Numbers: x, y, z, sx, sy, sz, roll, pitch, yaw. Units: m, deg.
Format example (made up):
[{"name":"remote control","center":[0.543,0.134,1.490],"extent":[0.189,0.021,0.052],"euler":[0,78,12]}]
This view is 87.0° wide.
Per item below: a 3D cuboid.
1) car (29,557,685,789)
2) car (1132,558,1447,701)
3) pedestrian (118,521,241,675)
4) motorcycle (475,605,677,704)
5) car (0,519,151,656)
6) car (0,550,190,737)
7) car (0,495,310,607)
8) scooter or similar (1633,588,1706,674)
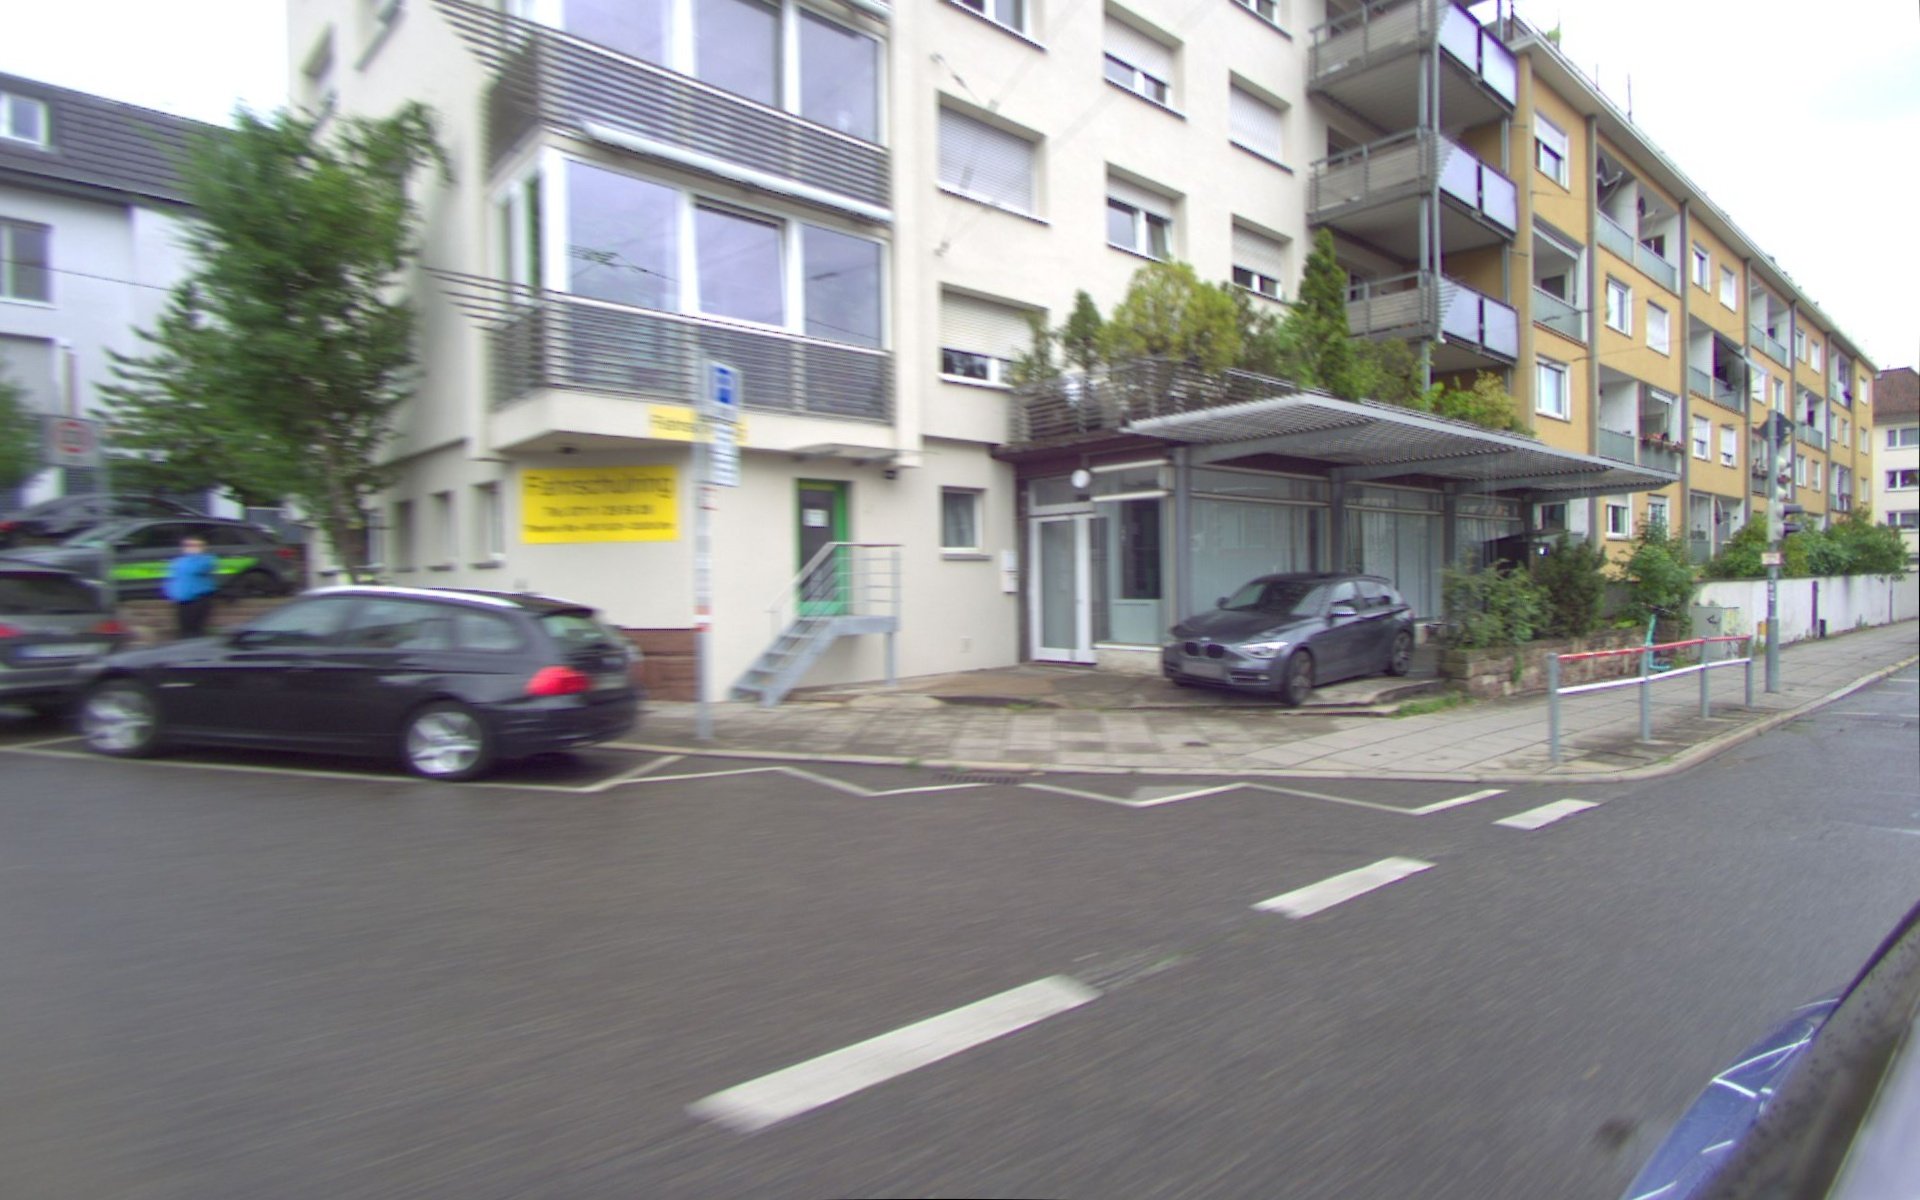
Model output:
[{"name":"car","center":[-4.803,0.511,8.489],"extent":[4.371,1.476,1.999],"euler":[3,0,6]},{"name":"car","center":[4.380,0.270,13.103],"extent":[4.371,1.521,1.857],"euler":[-1,3,-41]},{"name":"pedestrian","center":[-9.853,-0.046,12.794],"extent":[1.009,1.820,0.776],"euler":[4,3,17]},{"name":"motorcycle","center":[-4.469,0.621,11.816],"extent":[2.176,0.991,0.551],"euler":[3,2,7]},{"name":"car","center":[-12.954,-0.181,12.362],"extent":[1.982,1.636,4.411],"euler":[4,4,25]},{"name":"car","center":[-9.760,0.246,9.089],"extent":[4.374,1.475,1.998],"euler":[3,1,8]},{"name":"car","center":[-13.213,-0.750,16.481],"extent":[1.987,1.565,3.950],"euler":[-2,1,35]},{"name":"scooter or similar","center":[12.058,0.504,17.191],"extent":[1.630,1.343,0.536],"euler":[-1,5,-40]}]
